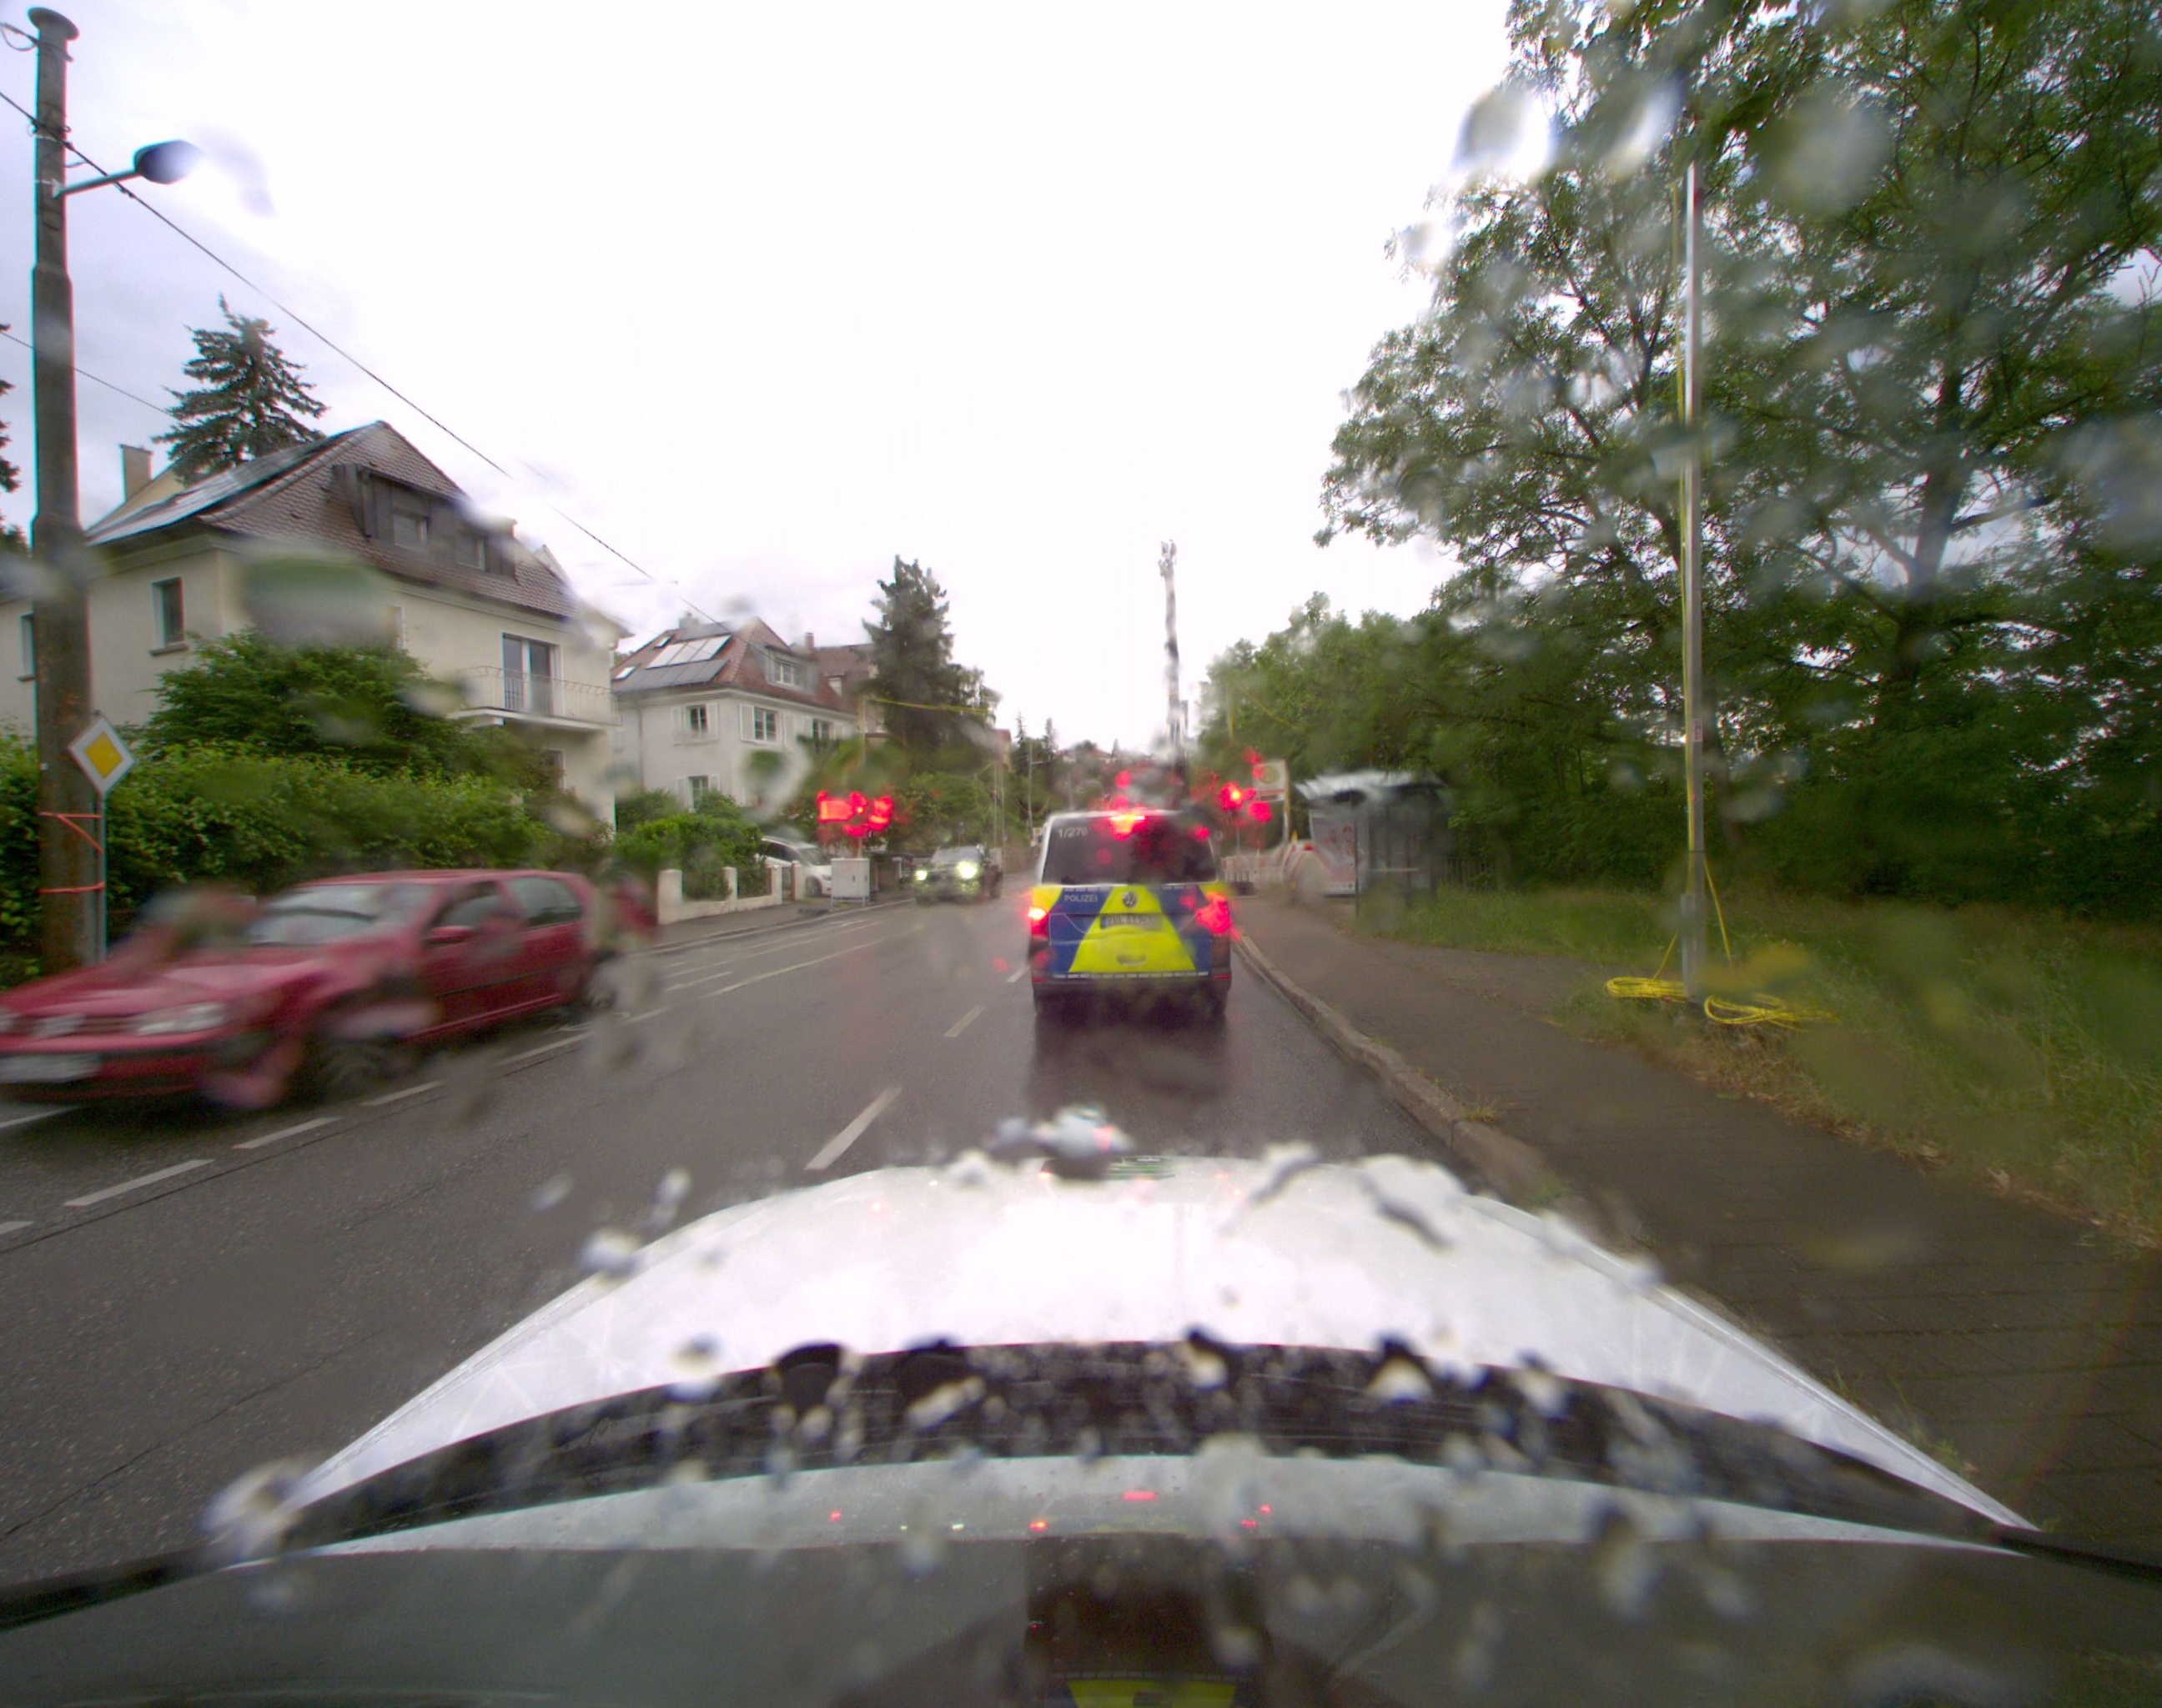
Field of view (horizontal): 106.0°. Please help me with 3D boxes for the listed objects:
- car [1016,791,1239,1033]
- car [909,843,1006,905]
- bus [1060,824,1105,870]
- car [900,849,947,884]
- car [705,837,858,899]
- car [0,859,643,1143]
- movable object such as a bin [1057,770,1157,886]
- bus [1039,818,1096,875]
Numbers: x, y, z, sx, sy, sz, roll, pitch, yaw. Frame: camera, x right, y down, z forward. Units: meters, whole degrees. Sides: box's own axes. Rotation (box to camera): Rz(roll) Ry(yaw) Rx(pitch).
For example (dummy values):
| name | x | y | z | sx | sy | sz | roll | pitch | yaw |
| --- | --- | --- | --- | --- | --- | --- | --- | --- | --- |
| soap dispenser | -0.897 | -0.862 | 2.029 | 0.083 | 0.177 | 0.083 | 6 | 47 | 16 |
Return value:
| name | x | y | z | sx | sy | sz | roll | pitch | yaw |
| --- | --- | --- | --- | --- | --- | --- | --- | --- | --- |
| car | 0.462 | 0.486 | 8.938 | 1.886 | 2.050 | 4.002 | 0 | 0 | 2 |
| car | -3.691 | 0.548 | 25.259 | 1.970 | 1.748 | 4.559 | 0 | 0 | 4 |
| bus | 0.274 | -0.564 | 70.942 | 2.827 | 3.625 | 12.022 | 0 | 0 | 5 |
| car | -7.455 | 0.562 | 38.295 | 1.770 | 1.486 | 3.720 | 0 | 1 | -17 |
| car | -10.280 | 0.463 | 28.053 | 4.599 | 2.007 | 1.907 | 0 | 0 | 13 |
| car | -5.398 | 0.804 | 6.311 | 1.757 | 1.463 | 3.888 | 0 | 0 | 2 |
| movable object such as a bin | 1.106 | -0.924 | 31.769 | 2.809 | 4.177 | 4.400 | 0 | 0 | 17 |
| bus | -0.789 | -0.512 | 59.086 | 2.827 | 3.718 | 12.022 | 0 | 0 | 5 |
